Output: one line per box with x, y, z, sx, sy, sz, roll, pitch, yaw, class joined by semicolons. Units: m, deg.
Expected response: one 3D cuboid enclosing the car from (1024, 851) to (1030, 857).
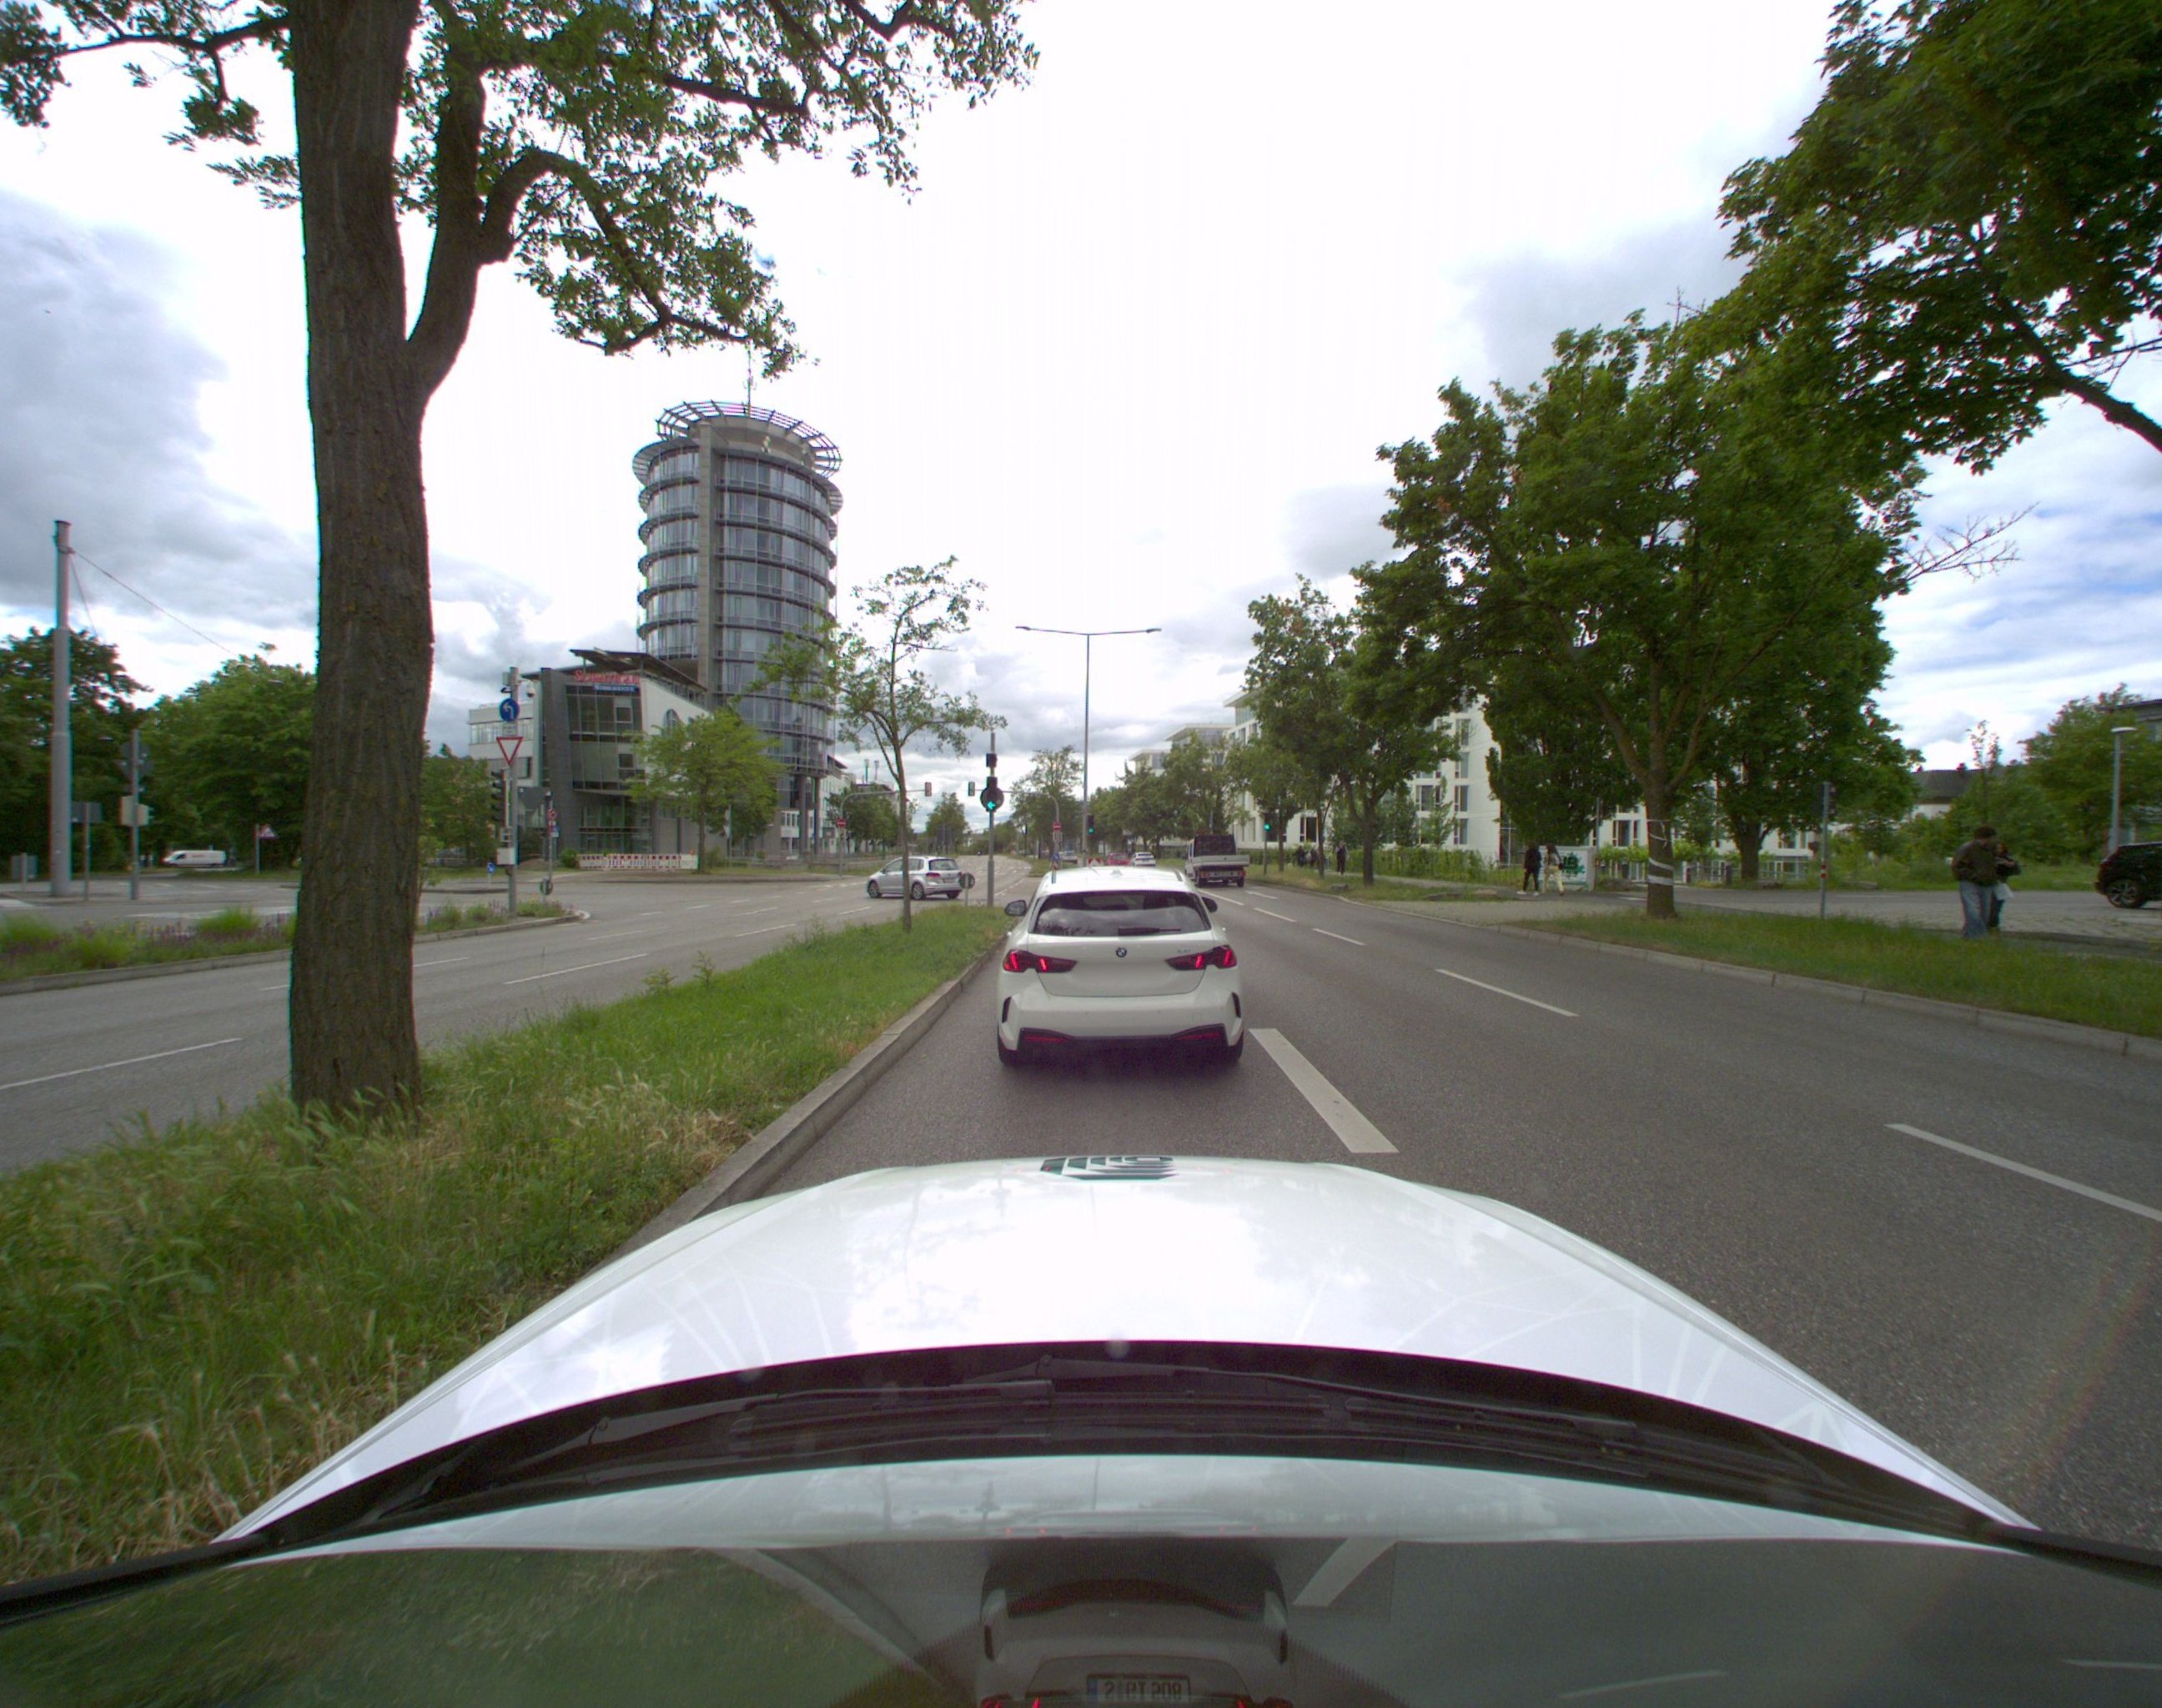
-16.847;0.049;255.108;1.834;2.014;3.994;0;-1;-4;car

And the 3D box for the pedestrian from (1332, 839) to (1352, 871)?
12.963;0.049;40.440;0.739;1.574;0.674;0;-1;1;pedestrian

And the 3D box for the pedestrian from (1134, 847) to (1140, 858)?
9.875;-0.301;143.116;0.763;2.014;0.751;0;-1;-13;pedestrian

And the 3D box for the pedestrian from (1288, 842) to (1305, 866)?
13.209;-0.007;49.982;0.786;1.448;1.112;0;-1;1;pedestrian

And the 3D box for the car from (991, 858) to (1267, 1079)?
0.384;0.759;7.358;1.815;1.438;4.002;0;0;2;car

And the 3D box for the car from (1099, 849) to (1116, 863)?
3.259;0.274;100.031;1.654;1.513;3.994;0;-2;-4;car

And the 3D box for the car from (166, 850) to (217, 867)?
-128.766;0.681;117.977;1.978;2.339;4.570;-1;-1;17;car

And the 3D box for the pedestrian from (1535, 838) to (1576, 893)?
14.647;0.358;25.166;0.774;1.660;0.954;0;0;8;pedestrian

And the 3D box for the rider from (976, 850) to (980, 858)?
-24.332;0.028;193.039;0.843;1.771;0.807;0;-1;-1;rider

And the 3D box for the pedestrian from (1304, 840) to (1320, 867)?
14.046;-0.017;49.568;0.697;1.595;0.883;0;-1;1;pedestrian

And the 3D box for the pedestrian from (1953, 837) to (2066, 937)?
14.920;0.516;13.111;0.828;1.557;0.877;0;0;4;pedestrian

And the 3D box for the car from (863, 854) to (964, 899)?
-6.205;0.782;30.037;3.949;1.569;1.564;0;0;41;car

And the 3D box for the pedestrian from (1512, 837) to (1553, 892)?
13.856;0.325;25.027;0.791;1.660;1.061;0;0;8;pedestrian

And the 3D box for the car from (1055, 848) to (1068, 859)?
-2.684;-0.075;113.698;1.602;1.468;3.669;0;0;-5;car

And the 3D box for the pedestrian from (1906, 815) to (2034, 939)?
13.916;0.342;12.785;0.955;1.868;0.980;0;0;4;pedestrian

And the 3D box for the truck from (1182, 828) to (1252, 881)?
5.976;0.018;36.521;2.204;2.203;5.843;0;0;0;truck

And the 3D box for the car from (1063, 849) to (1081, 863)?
-1.073;0.250;100.130;1.852;1.596;4.305;-1;0;-5;car

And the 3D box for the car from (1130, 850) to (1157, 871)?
4.816;0.482;62.988;1.711;1.555;4.087;-1;0;-1;car

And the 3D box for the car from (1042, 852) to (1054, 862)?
-5.639;0.496;138.921;1.889;1.596;4.305;0;0;-6;car

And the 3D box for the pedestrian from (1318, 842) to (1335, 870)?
14.893;0.112;49.475;0.764;1.685;0.883;0;-1;1;pedestrian

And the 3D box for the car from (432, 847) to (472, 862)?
-37.246;0.034;48.231;0.766;0.876;1.730;0;0;39;car

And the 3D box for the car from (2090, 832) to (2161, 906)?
24.908;0.331;17.373;1.749;1.646;4.151;0;0;2;car

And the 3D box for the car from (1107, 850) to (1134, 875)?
2.620;0.566;54.763;1.710;1.558;3.859;-1;0;1;car

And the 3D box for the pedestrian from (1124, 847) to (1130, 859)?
8.074;-0.158;142.277;0.763;2.014;0.751;0;-1;-13;pedestrian
